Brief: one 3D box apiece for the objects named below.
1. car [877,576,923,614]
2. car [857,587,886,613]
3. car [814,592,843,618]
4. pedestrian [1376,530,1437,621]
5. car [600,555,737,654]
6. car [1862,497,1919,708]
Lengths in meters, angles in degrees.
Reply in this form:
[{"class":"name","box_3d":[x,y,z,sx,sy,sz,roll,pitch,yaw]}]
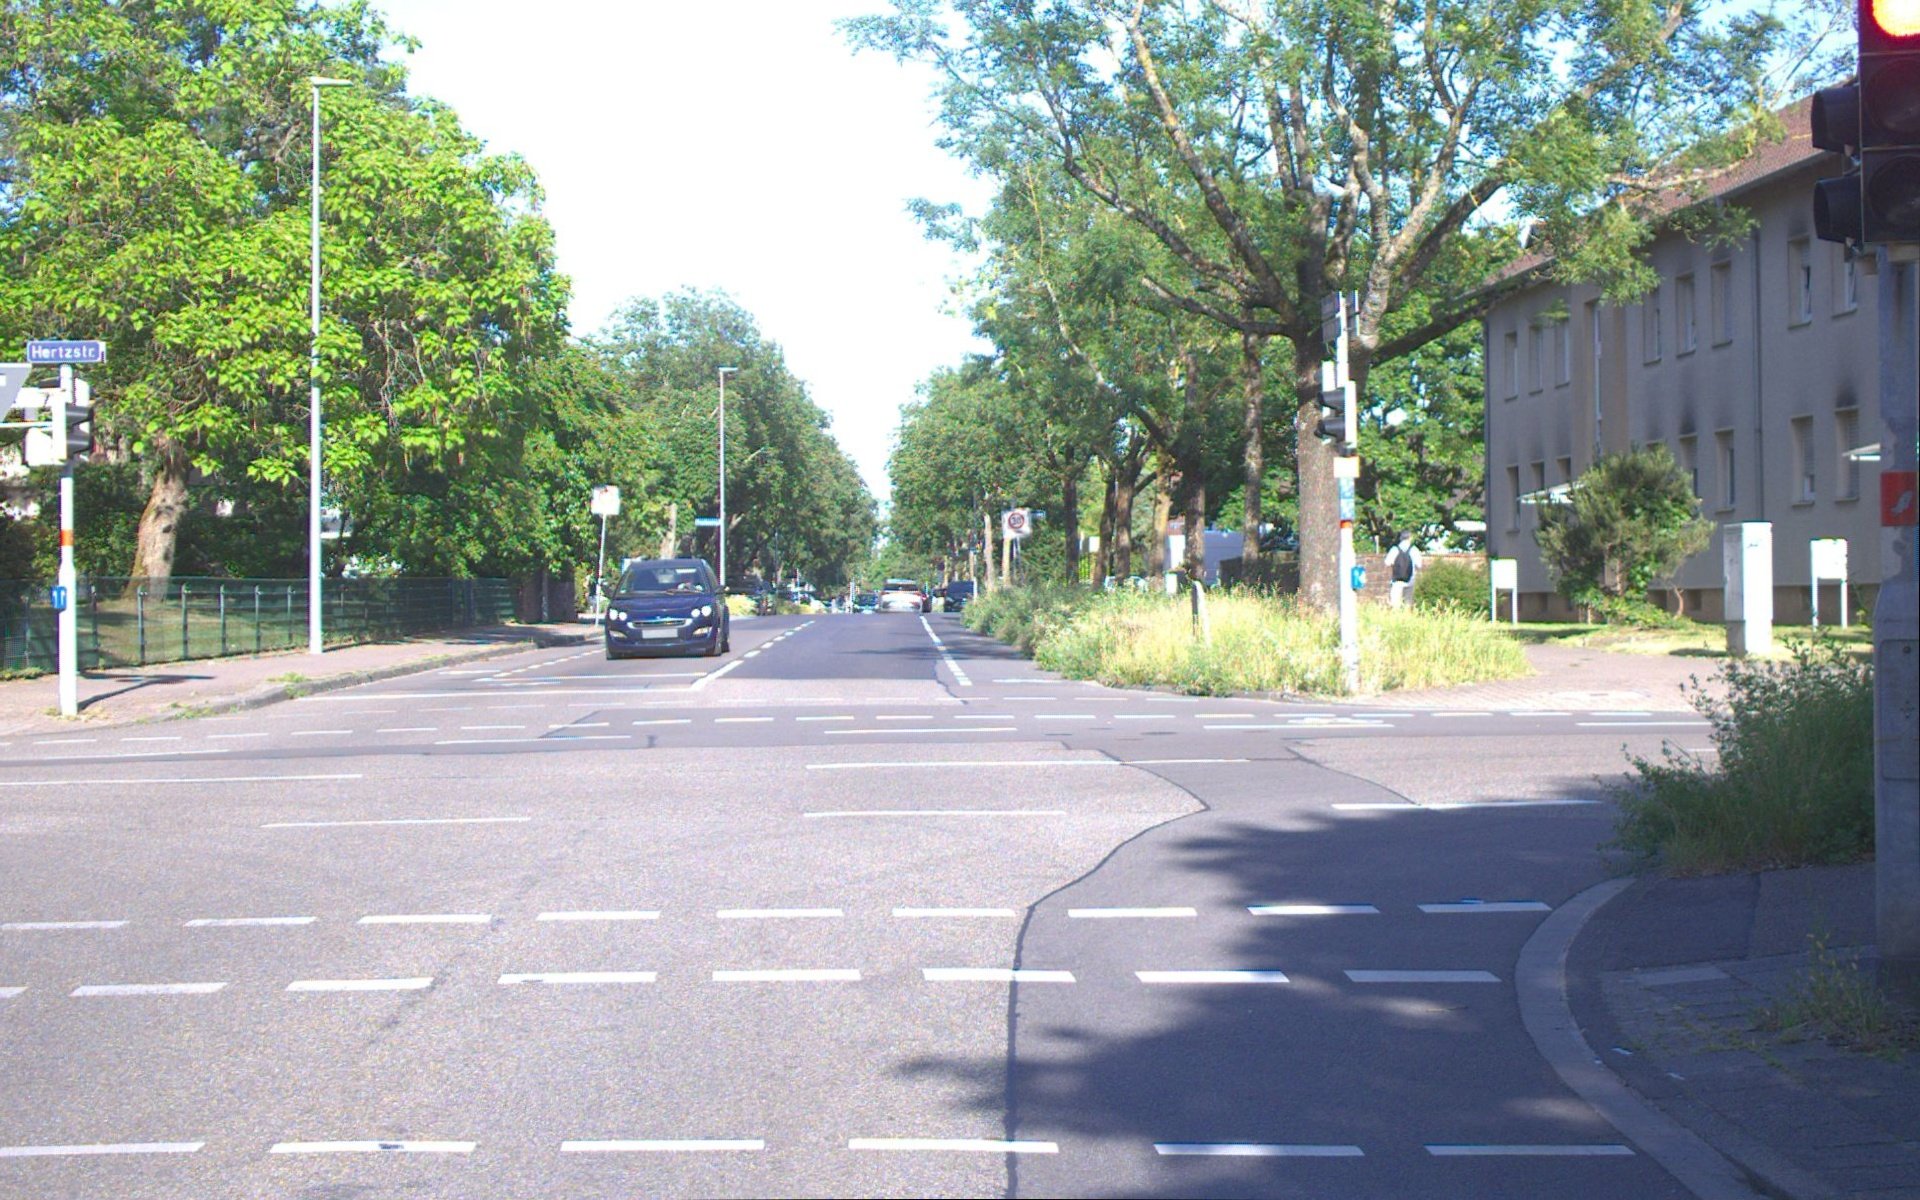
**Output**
[{"class":"car","box_3d":[-2.433,-0.210,139.090,1.844,1.456,3.530,0,1,-1]},{"class":"car","box_3d":[-5.799,-0.036,225.494,1.758,1.619,3.268,0,1,0]},{"class":"car","box_3d":[-8.557,0.314,223.537,1.758,1.619,3.268,0,1,0]},{"class":"pedestrian","box_3d":[7.506,-0.417,57.778,0.842,1.488,0.924,2,1,-1]},{"class":"car","box_3d":[-4.295,0.038,51.141,1.711,1.381,3.471,0,1,0]},{"class":"car","box_3d":[9.109,0.040,25.918,4.106,1.558,1.758,1,0,-3]}]
